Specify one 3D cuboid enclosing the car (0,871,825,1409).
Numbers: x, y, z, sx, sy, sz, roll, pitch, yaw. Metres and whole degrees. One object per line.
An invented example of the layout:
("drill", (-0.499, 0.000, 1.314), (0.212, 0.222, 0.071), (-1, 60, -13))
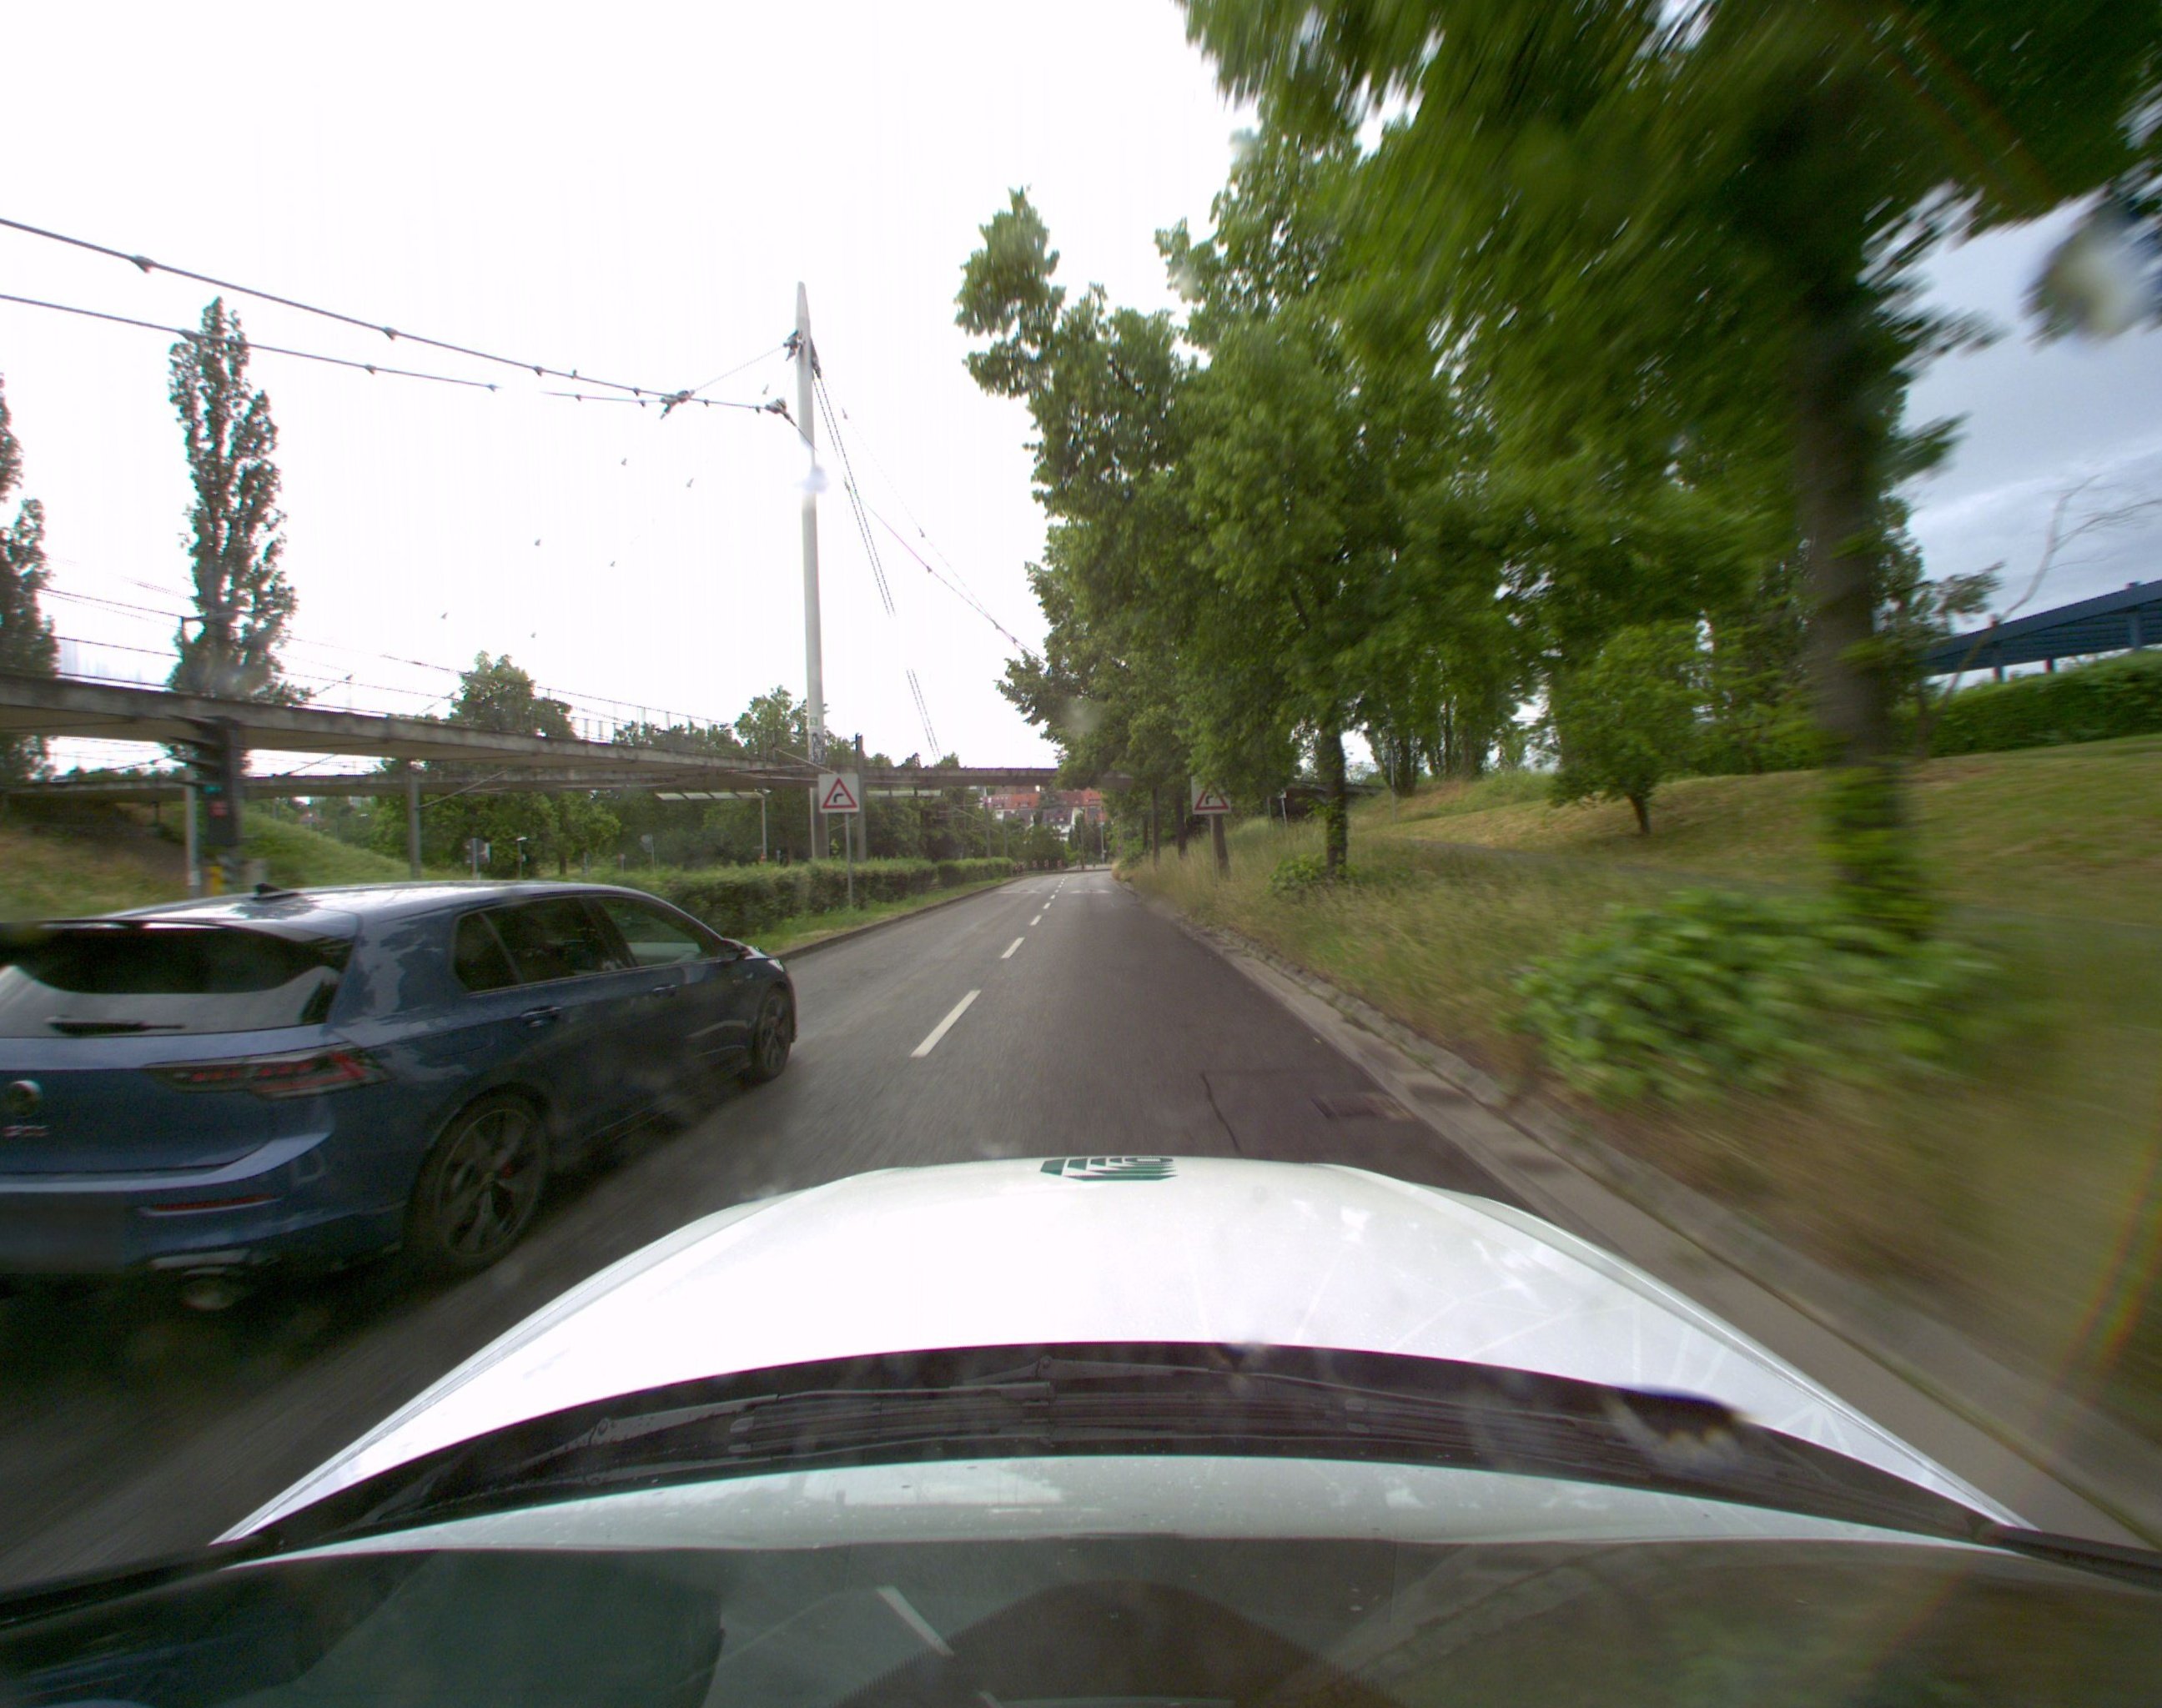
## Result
("car", (-3.061, 0.826, 4.391), (1.801, 1.378, 4.349), (-1, 0, 2))
